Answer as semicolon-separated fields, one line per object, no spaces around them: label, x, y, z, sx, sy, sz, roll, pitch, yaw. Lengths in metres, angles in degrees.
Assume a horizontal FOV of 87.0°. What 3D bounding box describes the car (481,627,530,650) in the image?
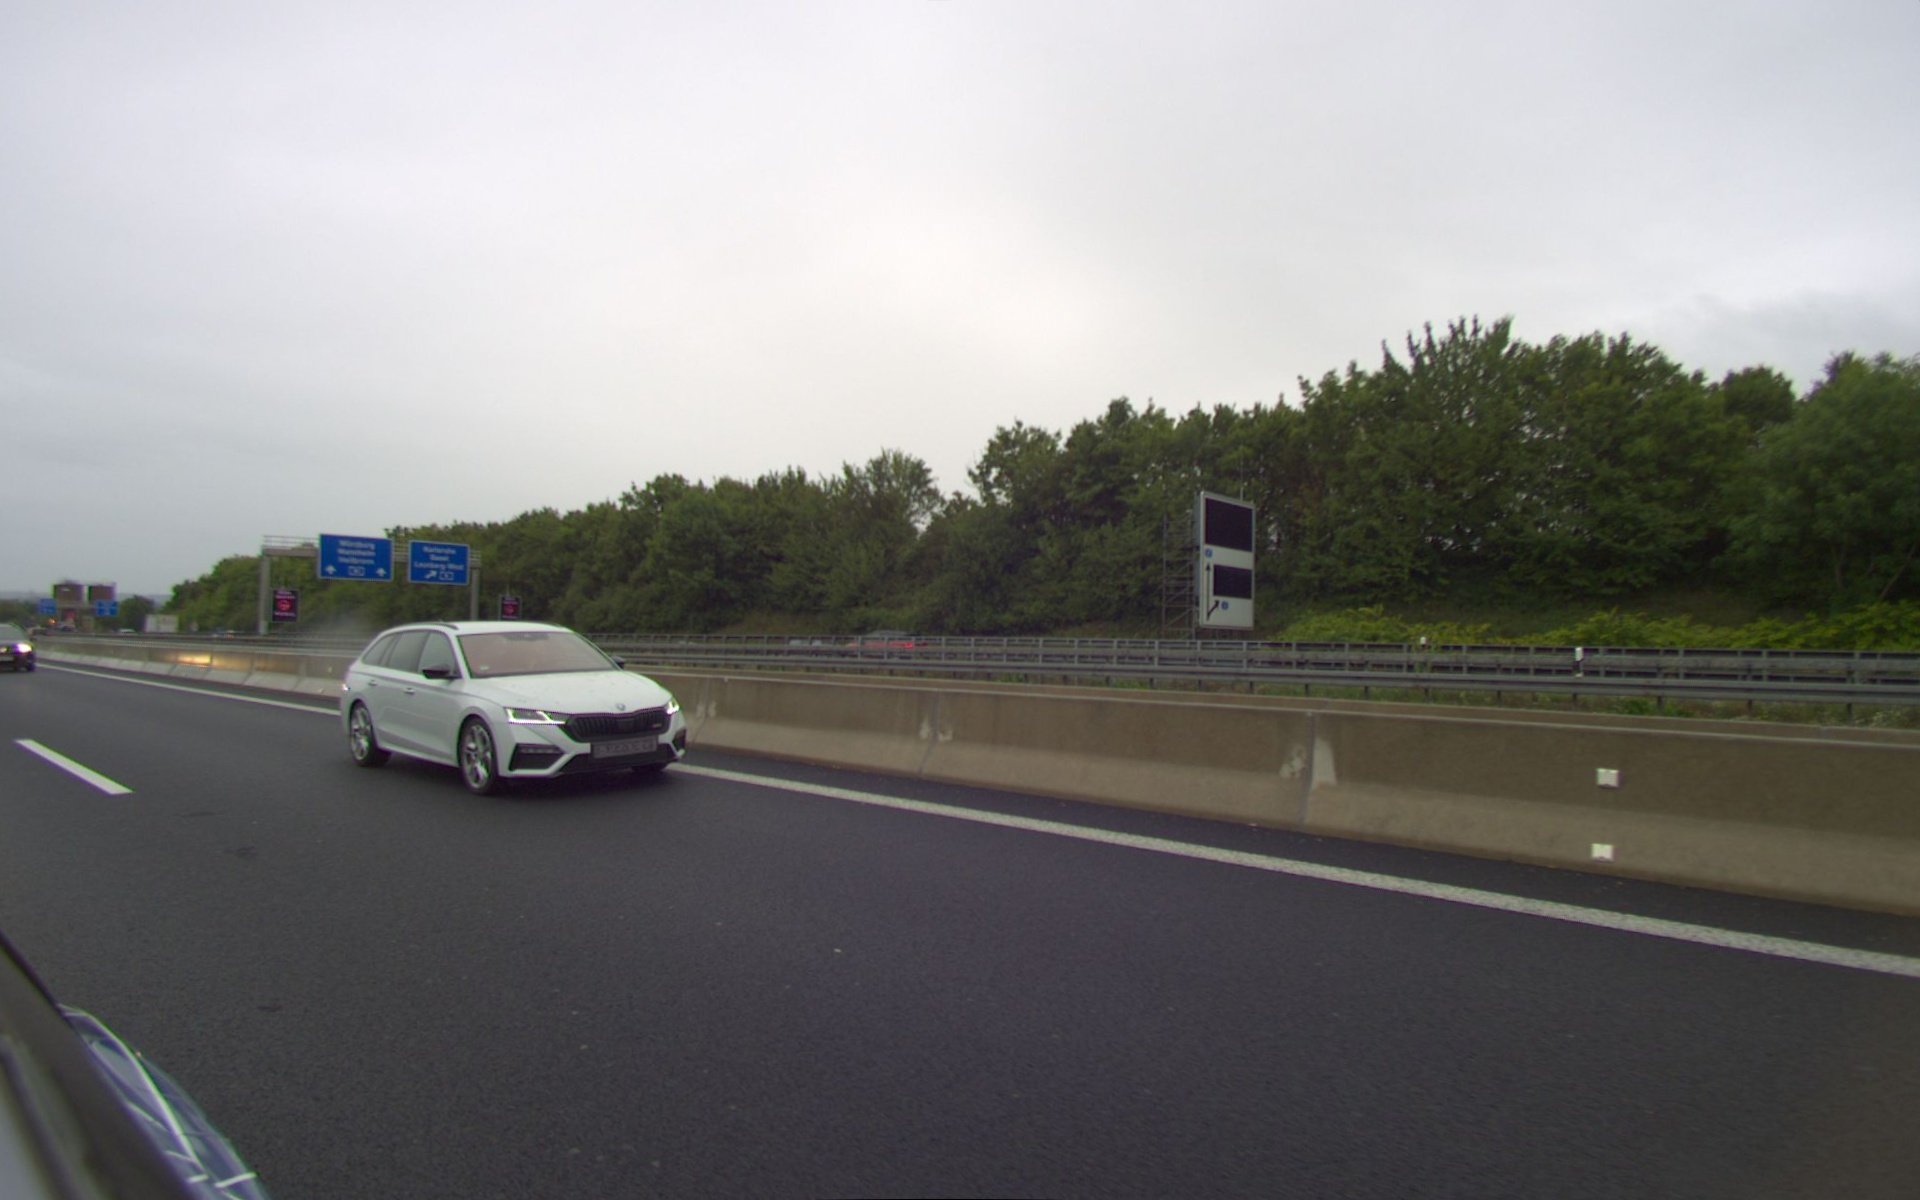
car;-34.622;2.934;77.050;4.055;1.644;1.800;-1;-1;40

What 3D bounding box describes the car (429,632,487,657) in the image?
car;-32.325;2.840;65.136;4.265;1.467;1.800;-1;-1;40

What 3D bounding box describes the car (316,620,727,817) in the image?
car;-4.446;0.934;9.851;4.775;1.467;1.800;-1;-1;41

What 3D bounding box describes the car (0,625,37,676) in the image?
car;-30.630;1.558;31.891;4.563;1.500;1.704;-1;-1;40

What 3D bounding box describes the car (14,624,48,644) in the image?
car;-95.203;3.453;103.708;4.979;2.029;1.973;-1;-1;41

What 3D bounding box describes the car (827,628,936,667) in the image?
car;-3.301;1.943;42.248;4.562;1.467;1.801;-1;-1;39

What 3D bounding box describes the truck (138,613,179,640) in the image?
truck;-117.765;3.849;148.659;9.630;3.908;3.042;-1;-1;41

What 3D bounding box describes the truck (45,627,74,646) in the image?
truck;-165.994;6.664;186.509;9.074;3.245;2.821;-1;-1;41

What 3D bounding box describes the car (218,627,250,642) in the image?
car;-80.165;3.788;111.681;4.471;1.504;1.800;-1;-1;40

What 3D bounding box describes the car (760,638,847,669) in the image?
car;-8.254;2.761;53.190;4.773;1.467;1.800;-1;-1;40
